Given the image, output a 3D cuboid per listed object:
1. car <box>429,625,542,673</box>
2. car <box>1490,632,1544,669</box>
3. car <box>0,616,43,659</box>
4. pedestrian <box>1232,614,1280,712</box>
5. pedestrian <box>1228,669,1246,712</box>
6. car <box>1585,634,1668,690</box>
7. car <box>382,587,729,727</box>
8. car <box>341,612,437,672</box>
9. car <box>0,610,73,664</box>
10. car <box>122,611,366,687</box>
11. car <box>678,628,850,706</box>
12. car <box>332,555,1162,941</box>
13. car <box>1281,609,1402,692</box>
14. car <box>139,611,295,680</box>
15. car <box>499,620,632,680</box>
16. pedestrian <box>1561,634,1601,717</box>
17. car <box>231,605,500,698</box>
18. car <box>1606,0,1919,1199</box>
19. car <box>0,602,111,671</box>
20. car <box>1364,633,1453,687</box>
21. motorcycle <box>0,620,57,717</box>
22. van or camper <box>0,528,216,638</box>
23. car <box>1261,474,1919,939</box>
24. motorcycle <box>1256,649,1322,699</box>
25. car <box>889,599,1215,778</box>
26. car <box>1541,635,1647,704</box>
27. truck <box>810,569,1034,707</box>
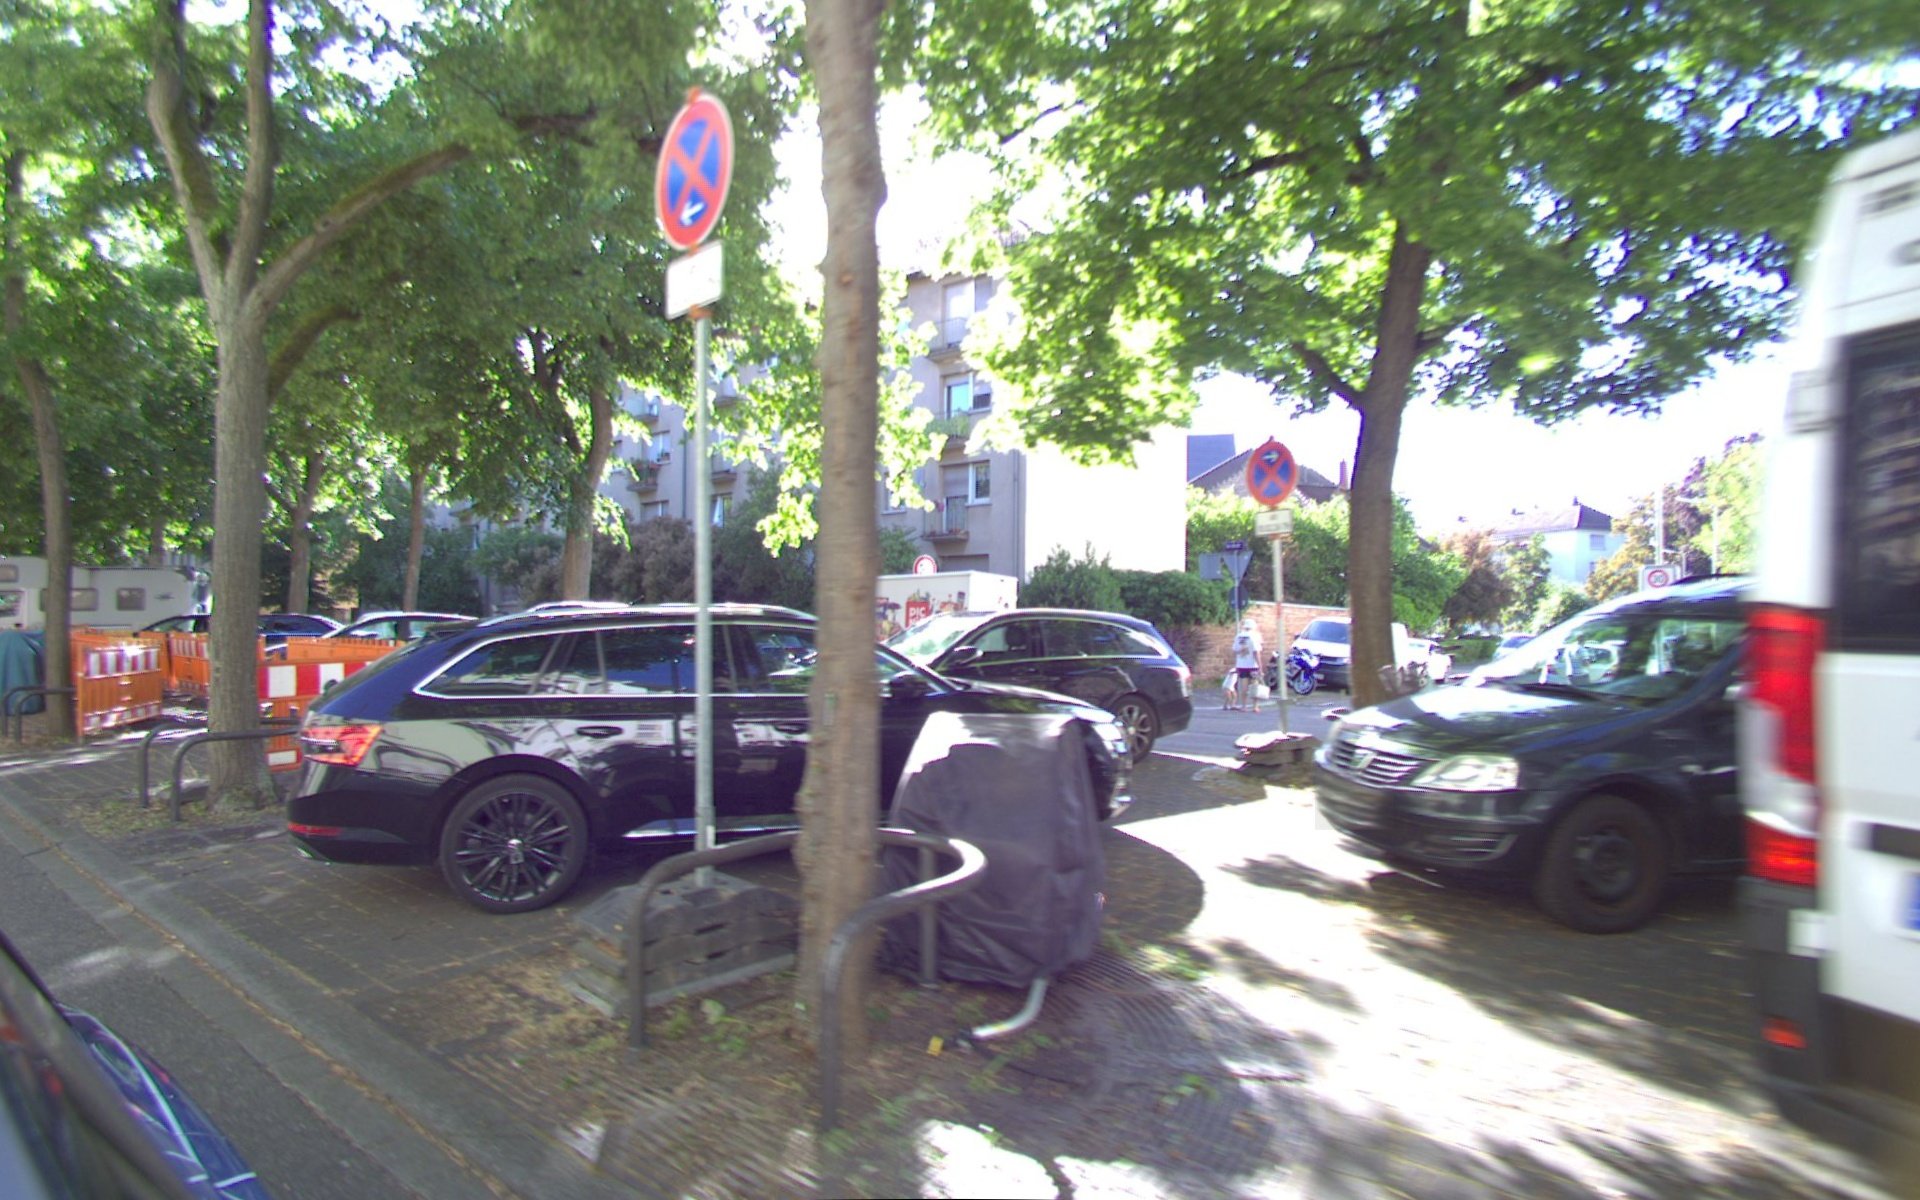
[{"bbox_3d":[-15.388,1.553,32.746,4.123,1.454,1.702,-1,-3,40],"label":"car"},{"bbox_3d":[24.644,2.253,44.721,1.602,1.538,3.818,-1,-4,36],"label":"car"},{"bbox_3d":[-35.217,1.272,35.284,4.446,1.495,1.743,2,-3,-21],"label":"car"},{"bbox_3d":[5.670,1.192,19.397,0.573,1.837,0.672,2,-2,-29],"label":"pedestrian"},{"bbox_3d":[5.476,1.795,20.017,0.219,0.819,0.193,5,-1,-25],"label":"pedestrian"},{"bbox_3d":[20.544,1.858,31.134,1.652,1.582,3.946,-1,-3,40],"label":"car"},{"bbox_3d":[-5.350,0.764,13.580,4.062,1.638,1.703,2,-3,-28],"label":"car"},{"bbox_3d":[-20.295,1.449,35.906,4.264,2.029,1.604,-1,-2,41],"label":"car"},{"bbox_3d":[-30.309,1.129,31.292,3.930,1.629,1.803,2,-3,-25],"label":"car"},{"bbox_3d":[-15.345,1.073,21.924,3.931,1.530,1.676,2,-3,-17],"label":"car"},{"bbox_3d":[-4.508,1.453,22.997,4.190,1.586,1.604,-1,-2,41],"label":"car"},{"bbox_3d":[-1.076,0.623,5.842,4.030,1.537,1.707,-3,-1,-20],"label":"car"},{"bbox_3d":[10.385,1.382,27.366,1.996,2.041,4.307,-1,-4,36],"label":"car"},{"bbox_3d":[-19.388,1.187,26.528,2.941,1.730,1.426,1,-2,-19],"label":"car"},{"bbox_3d":[-11.138,1.356,28.485,4.109,1.571,1.702,-1,-3,40],"label":"car"},{"bbox_3d":[12.531,1.510,20.430,0.482,1.652,0.557,3,-4,-43],"label":"pedestrian"},{"bbox_3d":[-10.227,0.889,17.653,3.846,1.472,1.582,2,-2,-30],"label":"car"},{"bbox_3d":[4.707,0.139,2.013,6.219,2.578,2.345,1,-1,-18],"label":"car"},{"bbox_3d":[-36.394,1.380,38.285,6.094,2.530,2.145,2,-3,-23],"label":"car"},{"bbox_3d":[14.101,1.882,31.720,1.779,1.538,3.818,-1,-4,36],"label":"car"},{"bbox_3d":[-14.017,0.980,15.046,0.622,1.334,2.234,0,-1,-35],"label":"motorcycle"},{"bbox_3d":[-26.079,-0.436,30.023,5.928,3.025,2.407,2,-3,-22],"label":"van or camper"},{"bbox_3d":[4.114,0.497,5.463,4.315,1.929,2.003,1,-2,-7],"label":"car"},{"bbox_3d":[8.071,1.793,24.889,0.471,1.145,1.816,1,-2,-23],"label":"motorcycle"},{"bbox_3d":[0.912,0.776,9.603,2.906,1.464,1.248,2,-2,-31],"label":"car"},{"bbox_3d":[15.539,1.650,24.729,1.652,1.529,3.946,-1,-3,40],"label":"car"},{"bbox_3d":[-0.817,0.733,19.915,4.262,2.428,1.901,-1,-3,42],"label":"truck"}]
